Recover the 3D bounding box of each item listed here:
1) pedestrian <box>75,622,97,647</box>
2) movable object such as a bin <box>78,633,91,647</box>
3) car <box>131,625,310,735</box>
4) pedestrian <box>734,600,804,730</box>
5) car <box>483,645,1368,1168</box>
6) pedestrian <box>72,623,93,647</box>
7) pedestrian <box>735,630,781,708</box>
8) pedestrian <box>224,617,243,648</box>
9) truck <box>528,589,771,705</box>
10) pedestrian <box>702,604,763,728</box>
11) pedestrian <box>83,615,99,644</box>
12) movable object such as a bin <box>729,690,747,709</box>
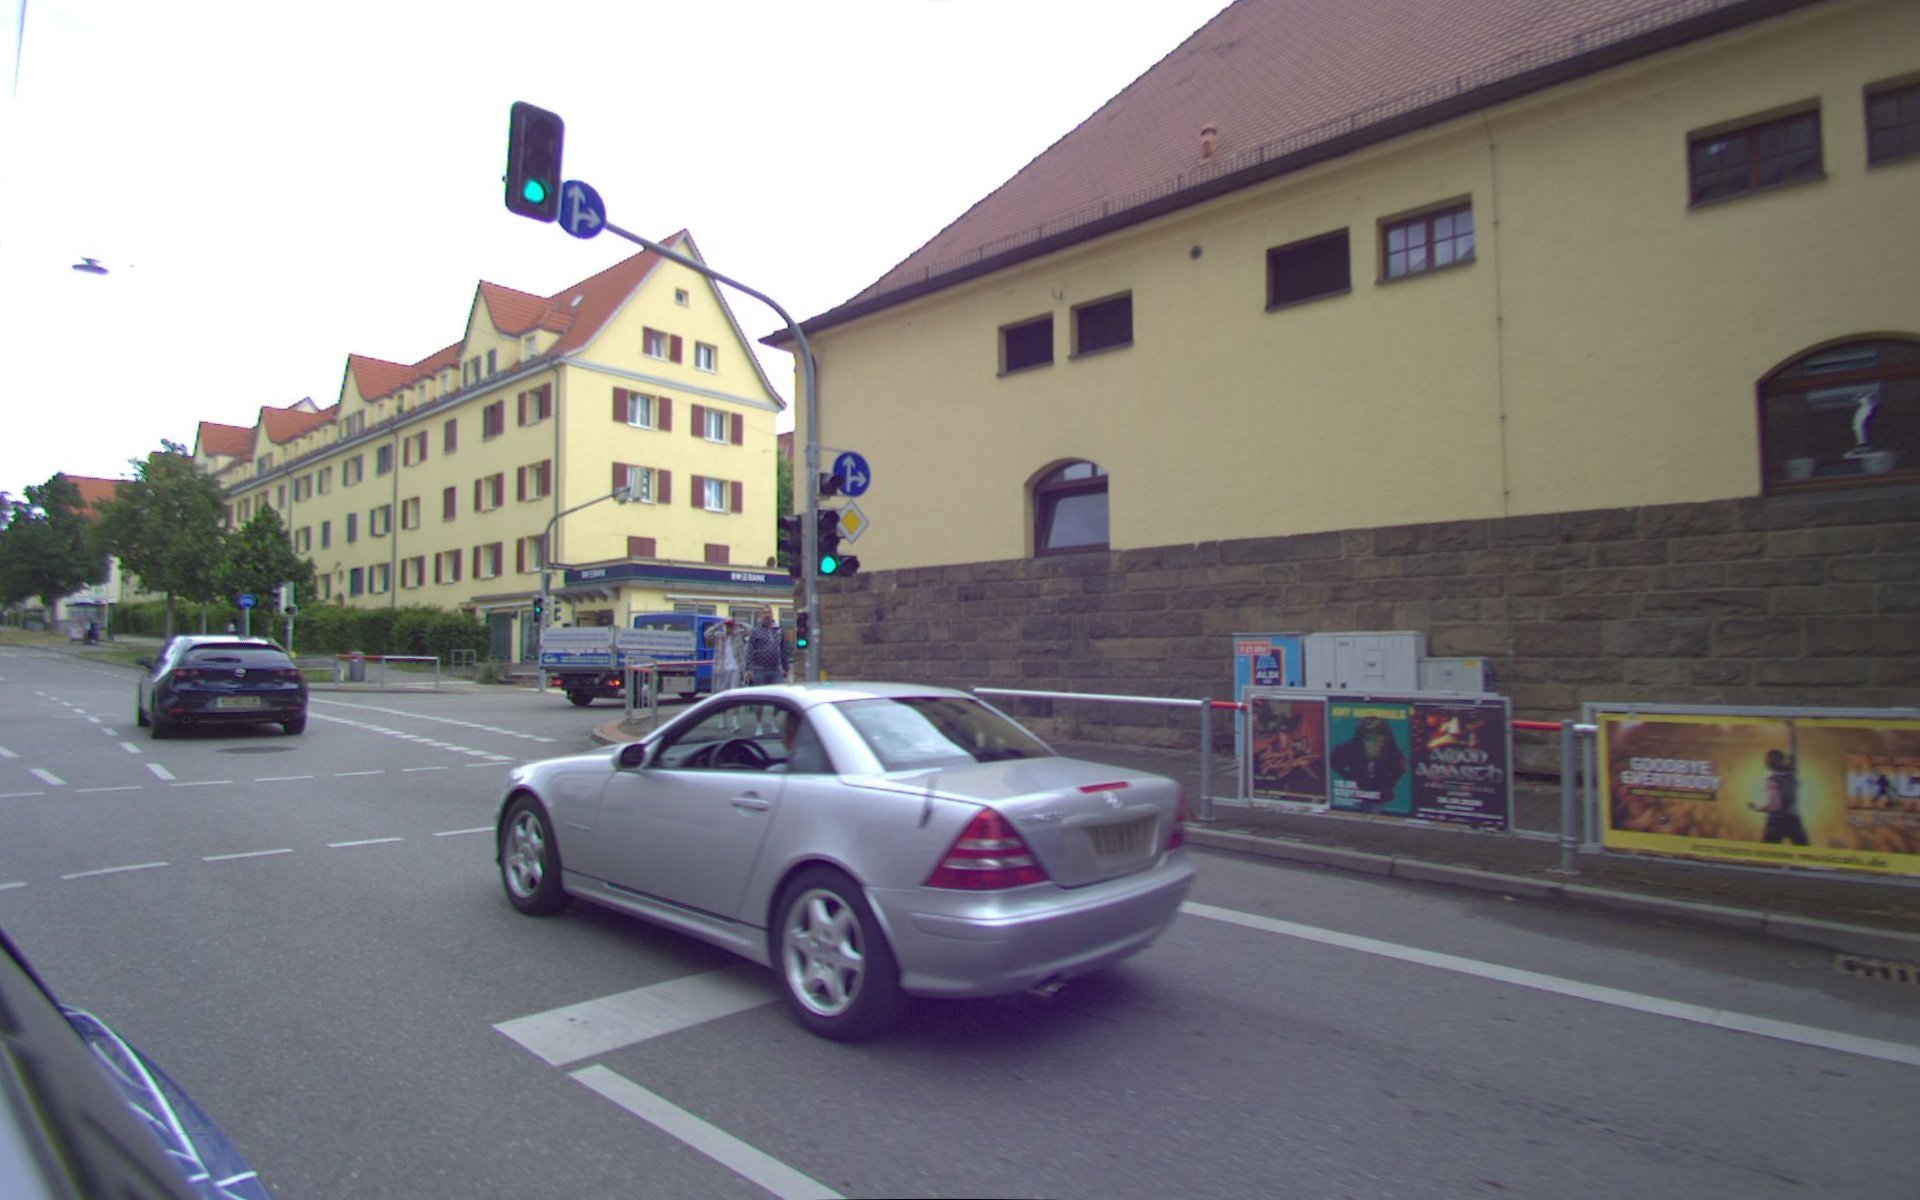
[{"bbox_3d":[-53.838,2.112,62.344,0.806,1.521,0.890,-2,-2,41],"label":"pedestrian"},{"bbox_3d":[-53.894,2.437,62.277,0.665,0.852,0.531,-2,-2,42],"label":"movable object such as a bin"},{"bbox_3d":[-11.294,1.149,15.348,1.682,1.425,4.196,4,-5,-42],"label":"car"},{"bbox_3d":[-2.734,0.913,14.471,0.842,1.790,0.558,-2,-3,41],"label":"pedestrian"},{"bbox_3d":[-0.485,0.936,4.709,4.095,1.285,1.667,-1,-5,43],"label":"car"},{"bbox_3d":[-54.897,2.167,63.290,0.806,1.485,0.890,-2,-2,41],"label":"pedestrian"},{"bbox_3d":[-4.179,1.416,20.928,0.557,1.578,0.843,3,-3,-44],"label":"pedestrian"},{"bbox_3d":[-38.810,1.732,54.080,0.617,1.631,0.634,-2,-3,40],"label":"pedestrian"},{"bbox_3d":[-7.261,1.176,24.684,2.285,2.446,6.369,0,-4,19],"label":"truck"},{"bbox_3d":[-3.391,0.973,15.090,0.716,1.790,0.558,-2,-3,40],"label":"pedestrian"},{"bbox_3d":[-52.046,1.773,60.597,0.861,1.740,0.590,-2,-2,43],"label":"pedestrian"},{"bbox_3d":[-4.292,1.926,19.580,0.302,0.350,0.582,1,-4,-7],"label":"movable object such as a bin"}]
